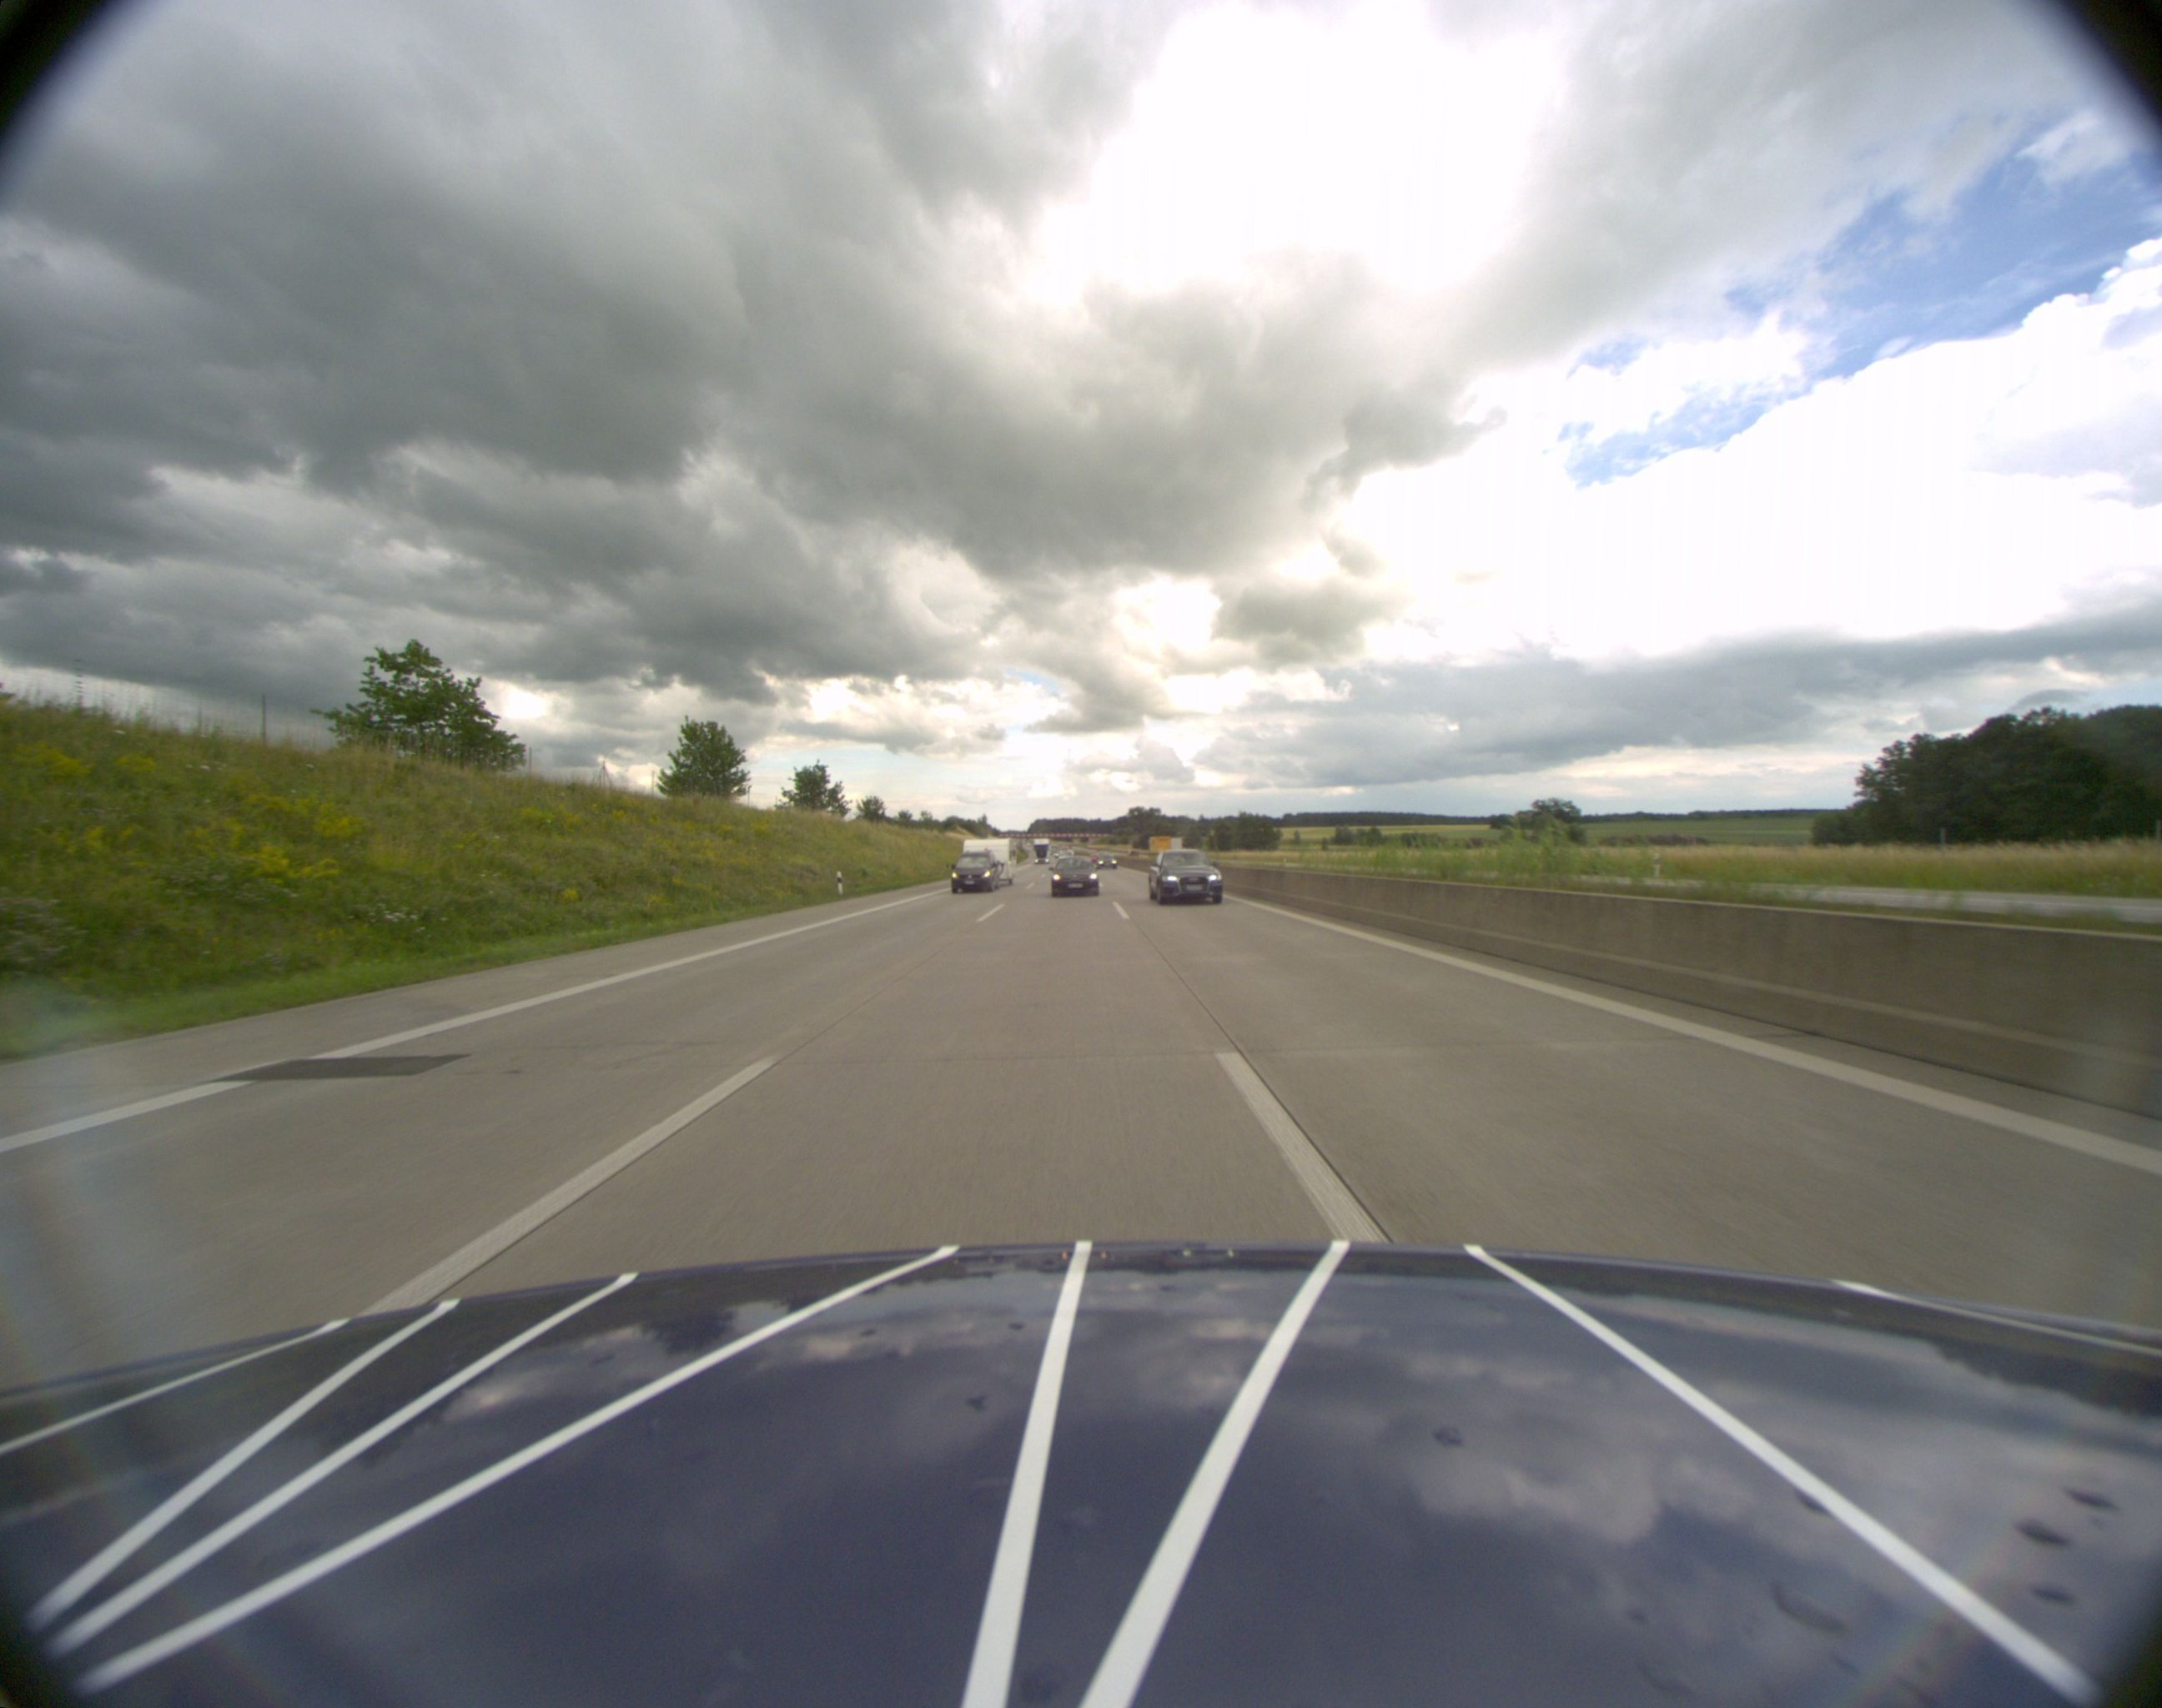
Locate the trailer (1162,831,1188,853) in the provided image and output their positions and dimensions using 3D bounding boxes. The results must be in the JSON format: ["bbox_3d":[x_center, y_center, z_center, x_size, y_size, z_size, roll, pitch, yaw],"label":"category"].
[{"bbox_3d":[17.437,-2.173,142.034,2.847,4.014,13.905,-1,0,-1],"label":"trailer"}]

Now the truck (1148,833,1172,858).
[{"bbox_3d":[13.252,-1.379,128.050,2.824,4.015,10.566,-1,0,-1],"label":"truck"}]

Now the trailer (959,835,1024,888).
[{"bbox_3d":[-4.588,0.325,40.078,2.615,2.520,6.720,-1,1,0],"label":"trailer"}]

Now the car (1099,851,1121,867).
[{"bbox_3d":[2.824,0.485,73.714,1.939,1.464,4.001,-1,0,4],"label":"car"}]

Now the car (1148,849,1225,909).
[{"bbox_3d":[3.122,0.664,23.445,1.797,1.587,5.157,-2,1,2],"label":"car"}]

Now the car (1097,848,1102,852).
[{"bbox_3d":[5.917,-1.271,244.737,1.571,1.344,3.472,-1,1,-1],"label":"car"}]

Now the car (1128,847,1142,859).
[{"bbox_3d":[9.499,-0.184,133.161,1.817,1.951,5.338,-2,1,-2],"label":"car"}]

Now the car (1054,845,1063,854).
[{"bbox_3d":[-5.521,-1.149,186.851,1.998,2.002,3.999,-2,1,0],"label":"car"}]

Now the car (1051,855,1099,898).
[{"bbox_3d":[-0.217,0.803,28.908,1.691,1.405,3.999,-1,1,0],"label":"car"}]

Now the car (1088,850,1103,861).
[{"bbox_3d":[2.019,0.198,105.560,1.821,1.364,3.783,-3,1,4],"label":"car"}]

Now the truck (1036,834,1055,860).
[{"bbox_3d":[-5.900,-1.151,127.523,2.855,4.176,10.707,-1,0,-1],"label":"truck"}]

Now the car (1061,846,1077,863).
[{"bbox_3d":[-1.511,0.056,95.158,1.999,2.002,3.999,-1,0,-1],"label":"car"}]

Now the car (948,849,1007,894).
[{"bbox_3d":[-4.548,0.708,34.205,1.944,1.799,5.031,-1,1,0],"label":"car"}]
